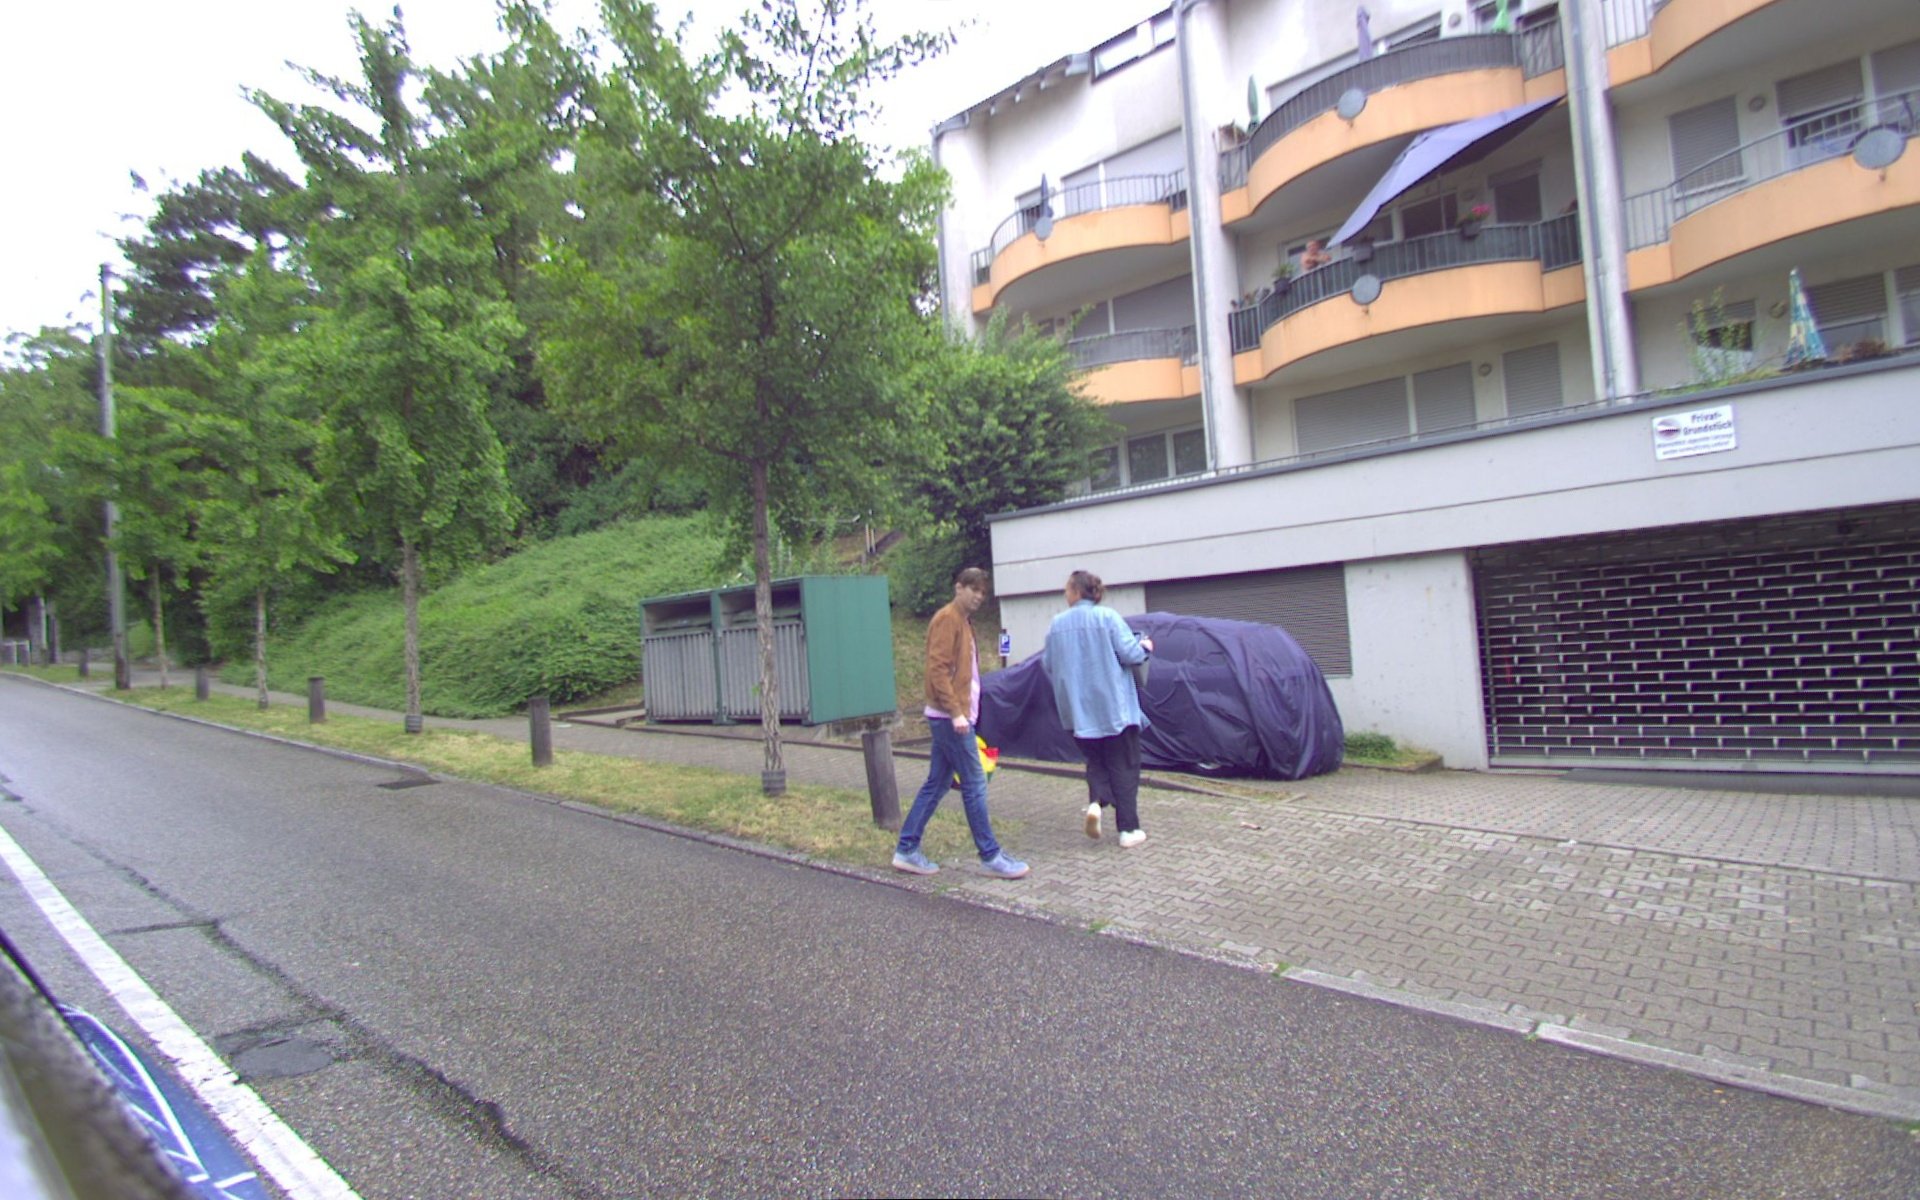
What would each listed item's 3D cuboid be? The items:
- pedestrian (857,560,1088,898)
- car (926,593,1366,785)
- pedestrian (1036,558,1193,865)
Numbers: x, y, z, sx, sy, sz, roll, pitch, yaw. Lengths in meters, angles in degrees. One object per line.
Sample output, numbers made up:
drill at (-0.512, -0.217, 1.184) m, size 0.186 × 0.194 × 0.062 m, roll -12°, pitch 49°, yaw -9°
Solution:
pedestrian at (0.090, 0.688, 5.981) m, size 1.067 × 1.795 × 0.817 m, roll -2°, pitch 1°, yaw 26°
car at (1.760, 0.826, 10.342) m, size 4.096 × 1.573 × 1.759 m, roll -2°, pitch -5°, yaw 41°
pedestrian at (0.954, 0.654, 6.529) m, size 0.813 × 1.795 × 1.073 m, roll -2°, pitch 1°, yaw 2°
